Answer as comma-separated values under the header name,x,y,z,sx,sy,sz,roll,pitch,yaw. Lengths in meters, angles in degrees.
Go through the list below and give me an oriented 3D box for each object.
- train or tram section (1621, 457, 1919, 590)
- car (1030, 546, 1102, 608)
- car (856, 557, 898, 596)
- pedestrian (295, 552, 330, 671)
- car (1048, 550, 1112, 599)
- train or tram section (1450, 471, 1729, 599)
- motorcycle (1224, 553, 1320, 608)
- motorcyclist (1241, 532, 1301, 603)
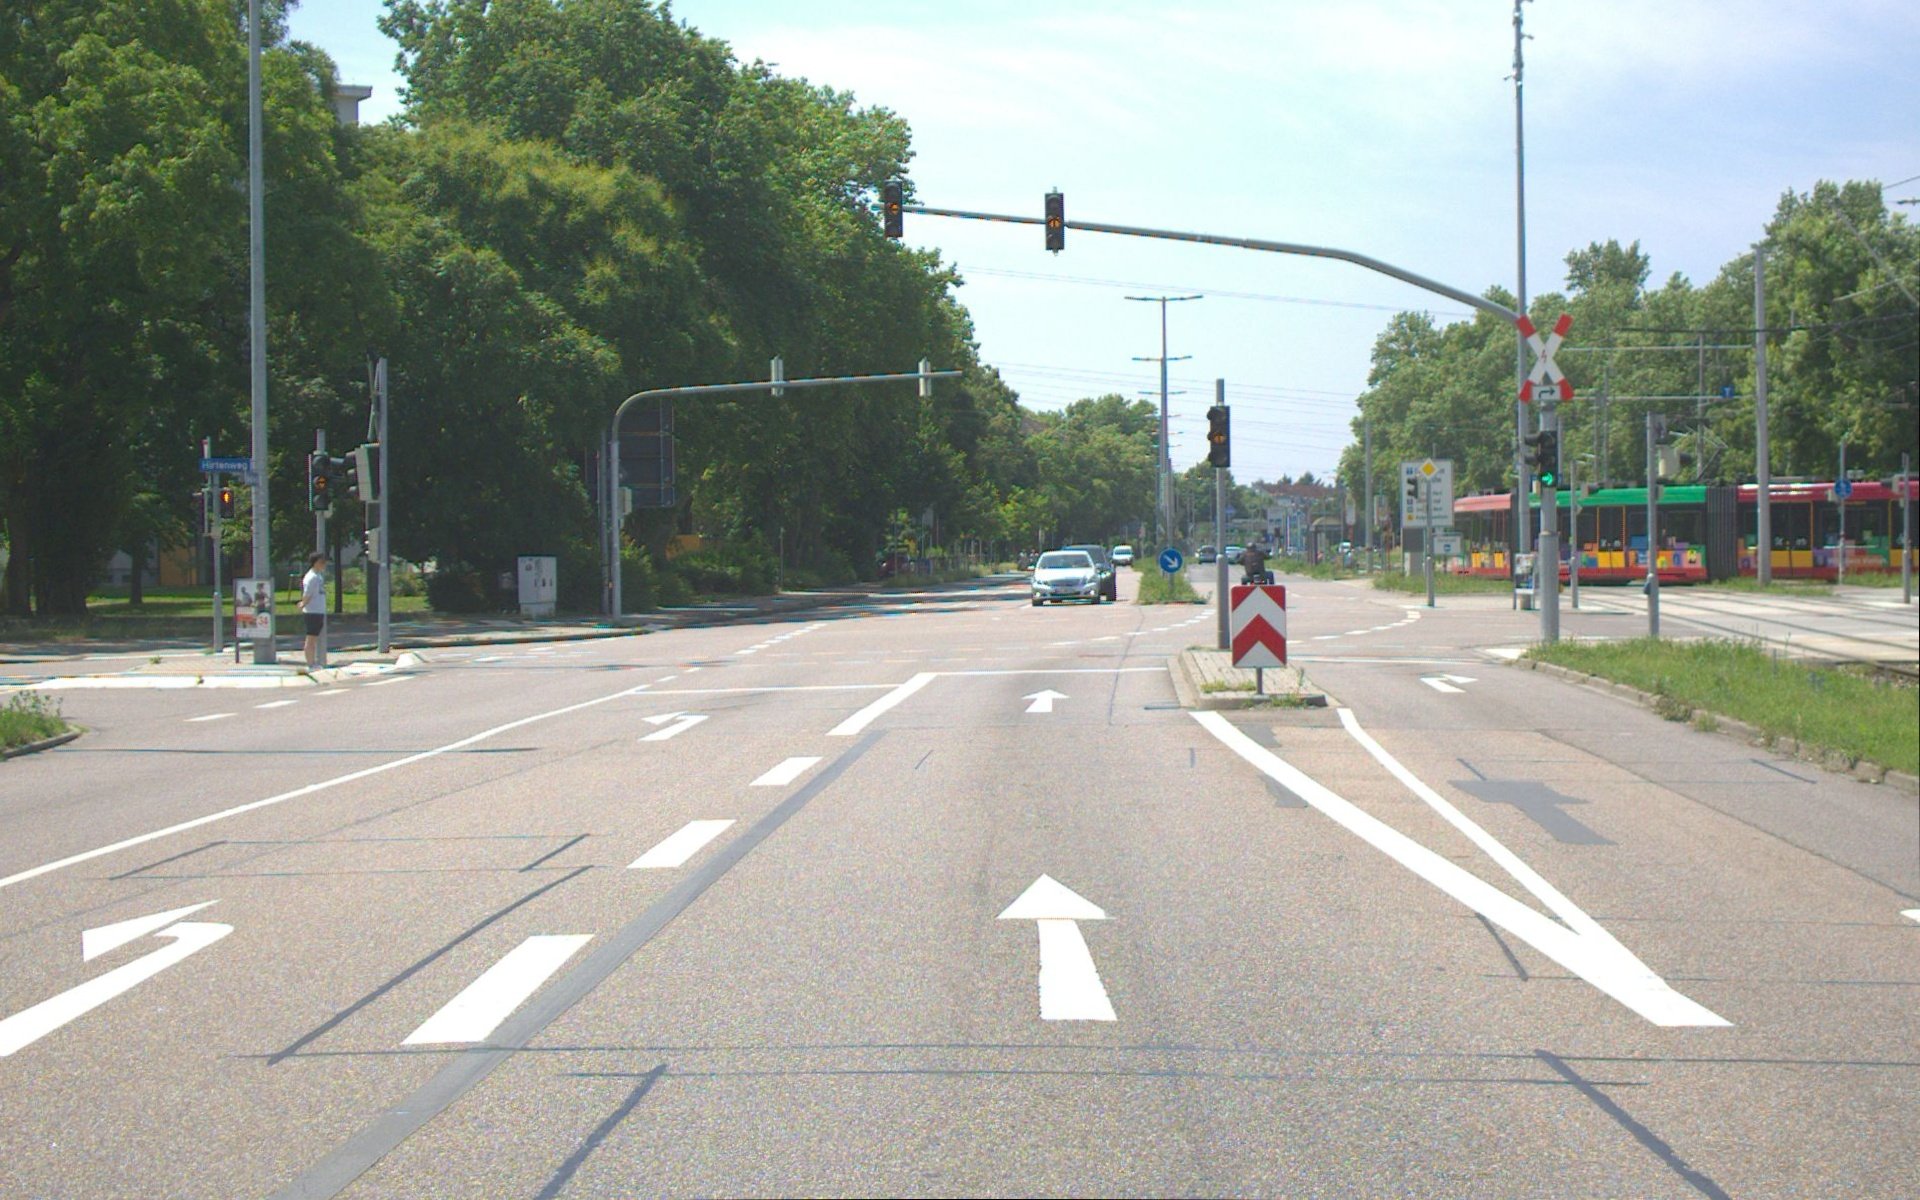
name,x,y,z,sx,sy,sz,roll,pitch,yaw
train or tram section,27.635,-2.385,110.060,2.916,3.799,13.447,2,-3,-44
car,2.906,-0.644,93.214,1.785,1.623,3.865,-1,1,4
car,-4.446,-1.264,184.549,1.993,2.007,4.000,3,0,1
pedestrian,-9.205,0.162,48.902,0.382,1.681,0.486,-1,1,0
car,3.533,-0.755,100.663,1.711,1.361,3.865,-1,1,4
train or tram section,21.693,-2.146,119.685,2.913,3.799,13.076,1,-2,-22
motorcycle,7.288,-0.464,80.187,2.442,1.251,0.849,0,1,-44
motorcyclist,7.244,-0.770,80.130,1.208,1.637,0.792,0,1,-44
